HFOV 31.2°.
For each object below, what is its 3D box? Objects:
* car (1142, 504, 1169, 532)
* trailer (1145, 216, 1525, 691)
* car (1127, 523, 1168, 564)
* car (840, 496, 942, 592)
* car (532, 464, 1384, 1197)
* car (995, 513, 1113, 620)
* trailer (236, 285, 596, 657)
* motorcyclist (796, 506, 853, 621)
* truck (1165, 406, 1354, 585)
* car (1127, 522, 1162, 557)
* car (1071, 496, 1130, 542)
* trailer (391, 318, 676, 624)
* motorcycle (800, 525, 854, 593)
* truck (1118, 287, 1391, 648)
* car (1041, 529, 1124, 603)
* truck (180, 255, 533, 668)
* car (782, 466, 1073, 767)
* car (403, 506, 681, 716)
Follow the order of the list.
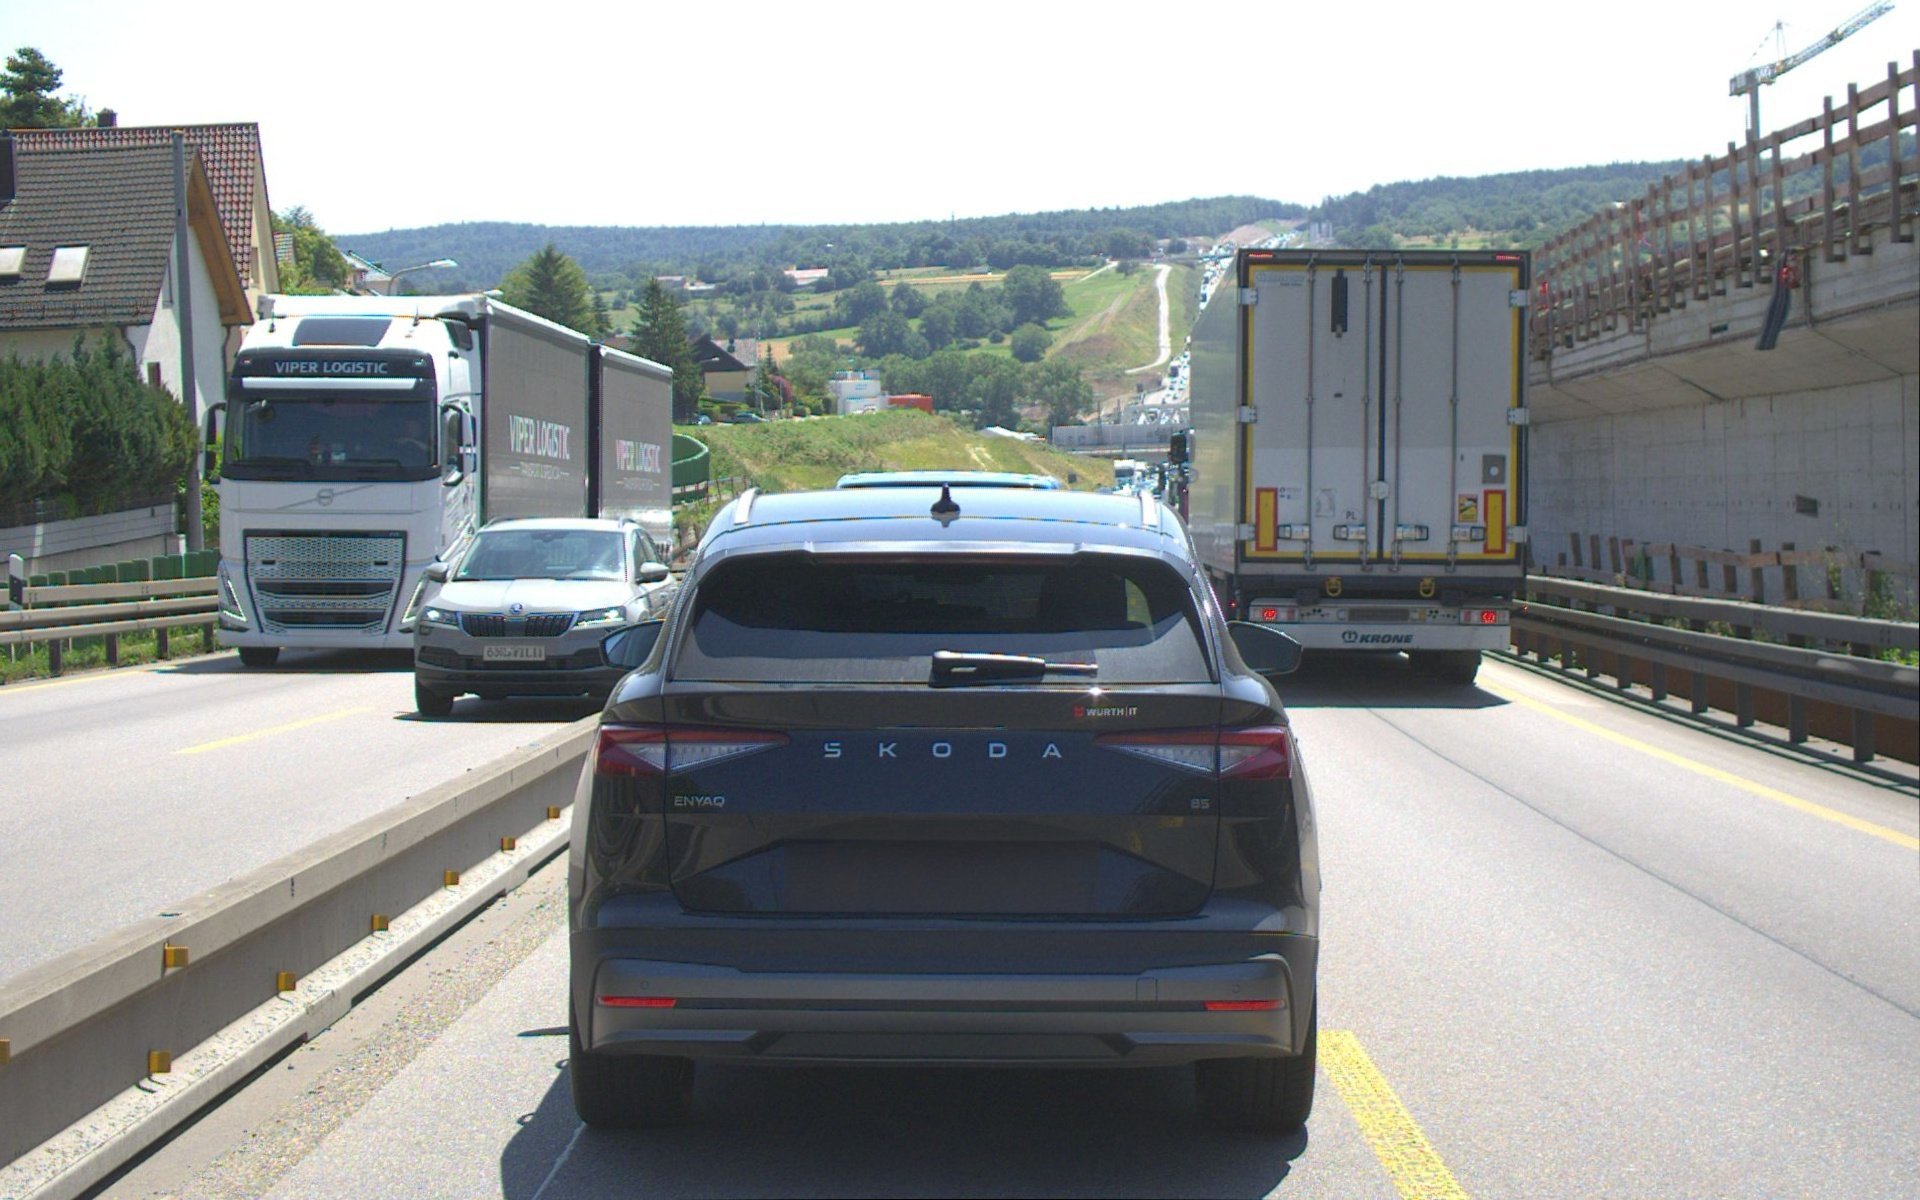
[{"bbox_3d":[12.840,-5.350,225.380,1.701,1.722,3.836,1,0,4],"label":"car"},{"bbox_3d":[3.586,-1.306,35.804,2.531,4.113,11.548,1,0,-1],"label":"trailer"},{"bbox_3d":[8.195,-2.460,150.034,1.701,1.722,3.836,1,0,4],"label":"car"},{"bbox_3d":[-1.426,-1.161,73.098,2.022,1.953,4.899,1,0,0],"label":"car"},{"bbox_3d":[-0.145,0.499,9.435,1.842,1.581,3.908,1,0,-4],"label":"car"},{"bbox_3d":[1.478,-0.564,55.397,1.707,1.616,4.001,1,2,-1],"label":"car"},{"bbox_3d":[-6.425,-1.557,41.890,2.757,4.056,8.007,1,2,3],"label":"trailer"},{"bbox_3d":[-2.205,-0.600,56.029,0.853,1.848,0.984,1,1,0],"label":"motorcyclist"},{"bbox_3d":[5.710,-1.895,67.614,3.195,3.180,12.807,0,0,3],"label":"truck"},{"bbox_3d":[9.359,-3.046,174.150,1.701,1.722,3.836,1,0,4],"label":"car"},{"bbox_3d":[5.108,-2.945,125.455,1.993,1.579,3.836,1,0,0],"label":"car"},{"bbox_3d":[-6.059,-1.867,50.187,2.757,4.056,8.635,1,2,2],"label":"trailer"},{"bbox_3d":[-2.166,-0.679,56.225,0.786,1.076,1.912,1,1,0],"label":"motorcycle"},{"bbox_3d":[3.496,-1.503,42.653,2.513,4.011,8.238,1,0,-1],"label":"truck"},{"bbox_3d":[2.848,-0.814,80.459,1.707,1.616,4.001,1,2,-1],"label":"car"},{"bbox_3d":[-6.612,-1.505,38.349,2.752,4.269,4.957,1,1,4],"label":"truck"},{"bbox_3d":[-0.307,0.043,23.558,1.706,1.875,4.001,1,2,-4],"label":"car"},{"bbox_3d":[-3.411,0.078,28.731,1.859,1.605,4.069,1,0,-1],"label":"car"}]
